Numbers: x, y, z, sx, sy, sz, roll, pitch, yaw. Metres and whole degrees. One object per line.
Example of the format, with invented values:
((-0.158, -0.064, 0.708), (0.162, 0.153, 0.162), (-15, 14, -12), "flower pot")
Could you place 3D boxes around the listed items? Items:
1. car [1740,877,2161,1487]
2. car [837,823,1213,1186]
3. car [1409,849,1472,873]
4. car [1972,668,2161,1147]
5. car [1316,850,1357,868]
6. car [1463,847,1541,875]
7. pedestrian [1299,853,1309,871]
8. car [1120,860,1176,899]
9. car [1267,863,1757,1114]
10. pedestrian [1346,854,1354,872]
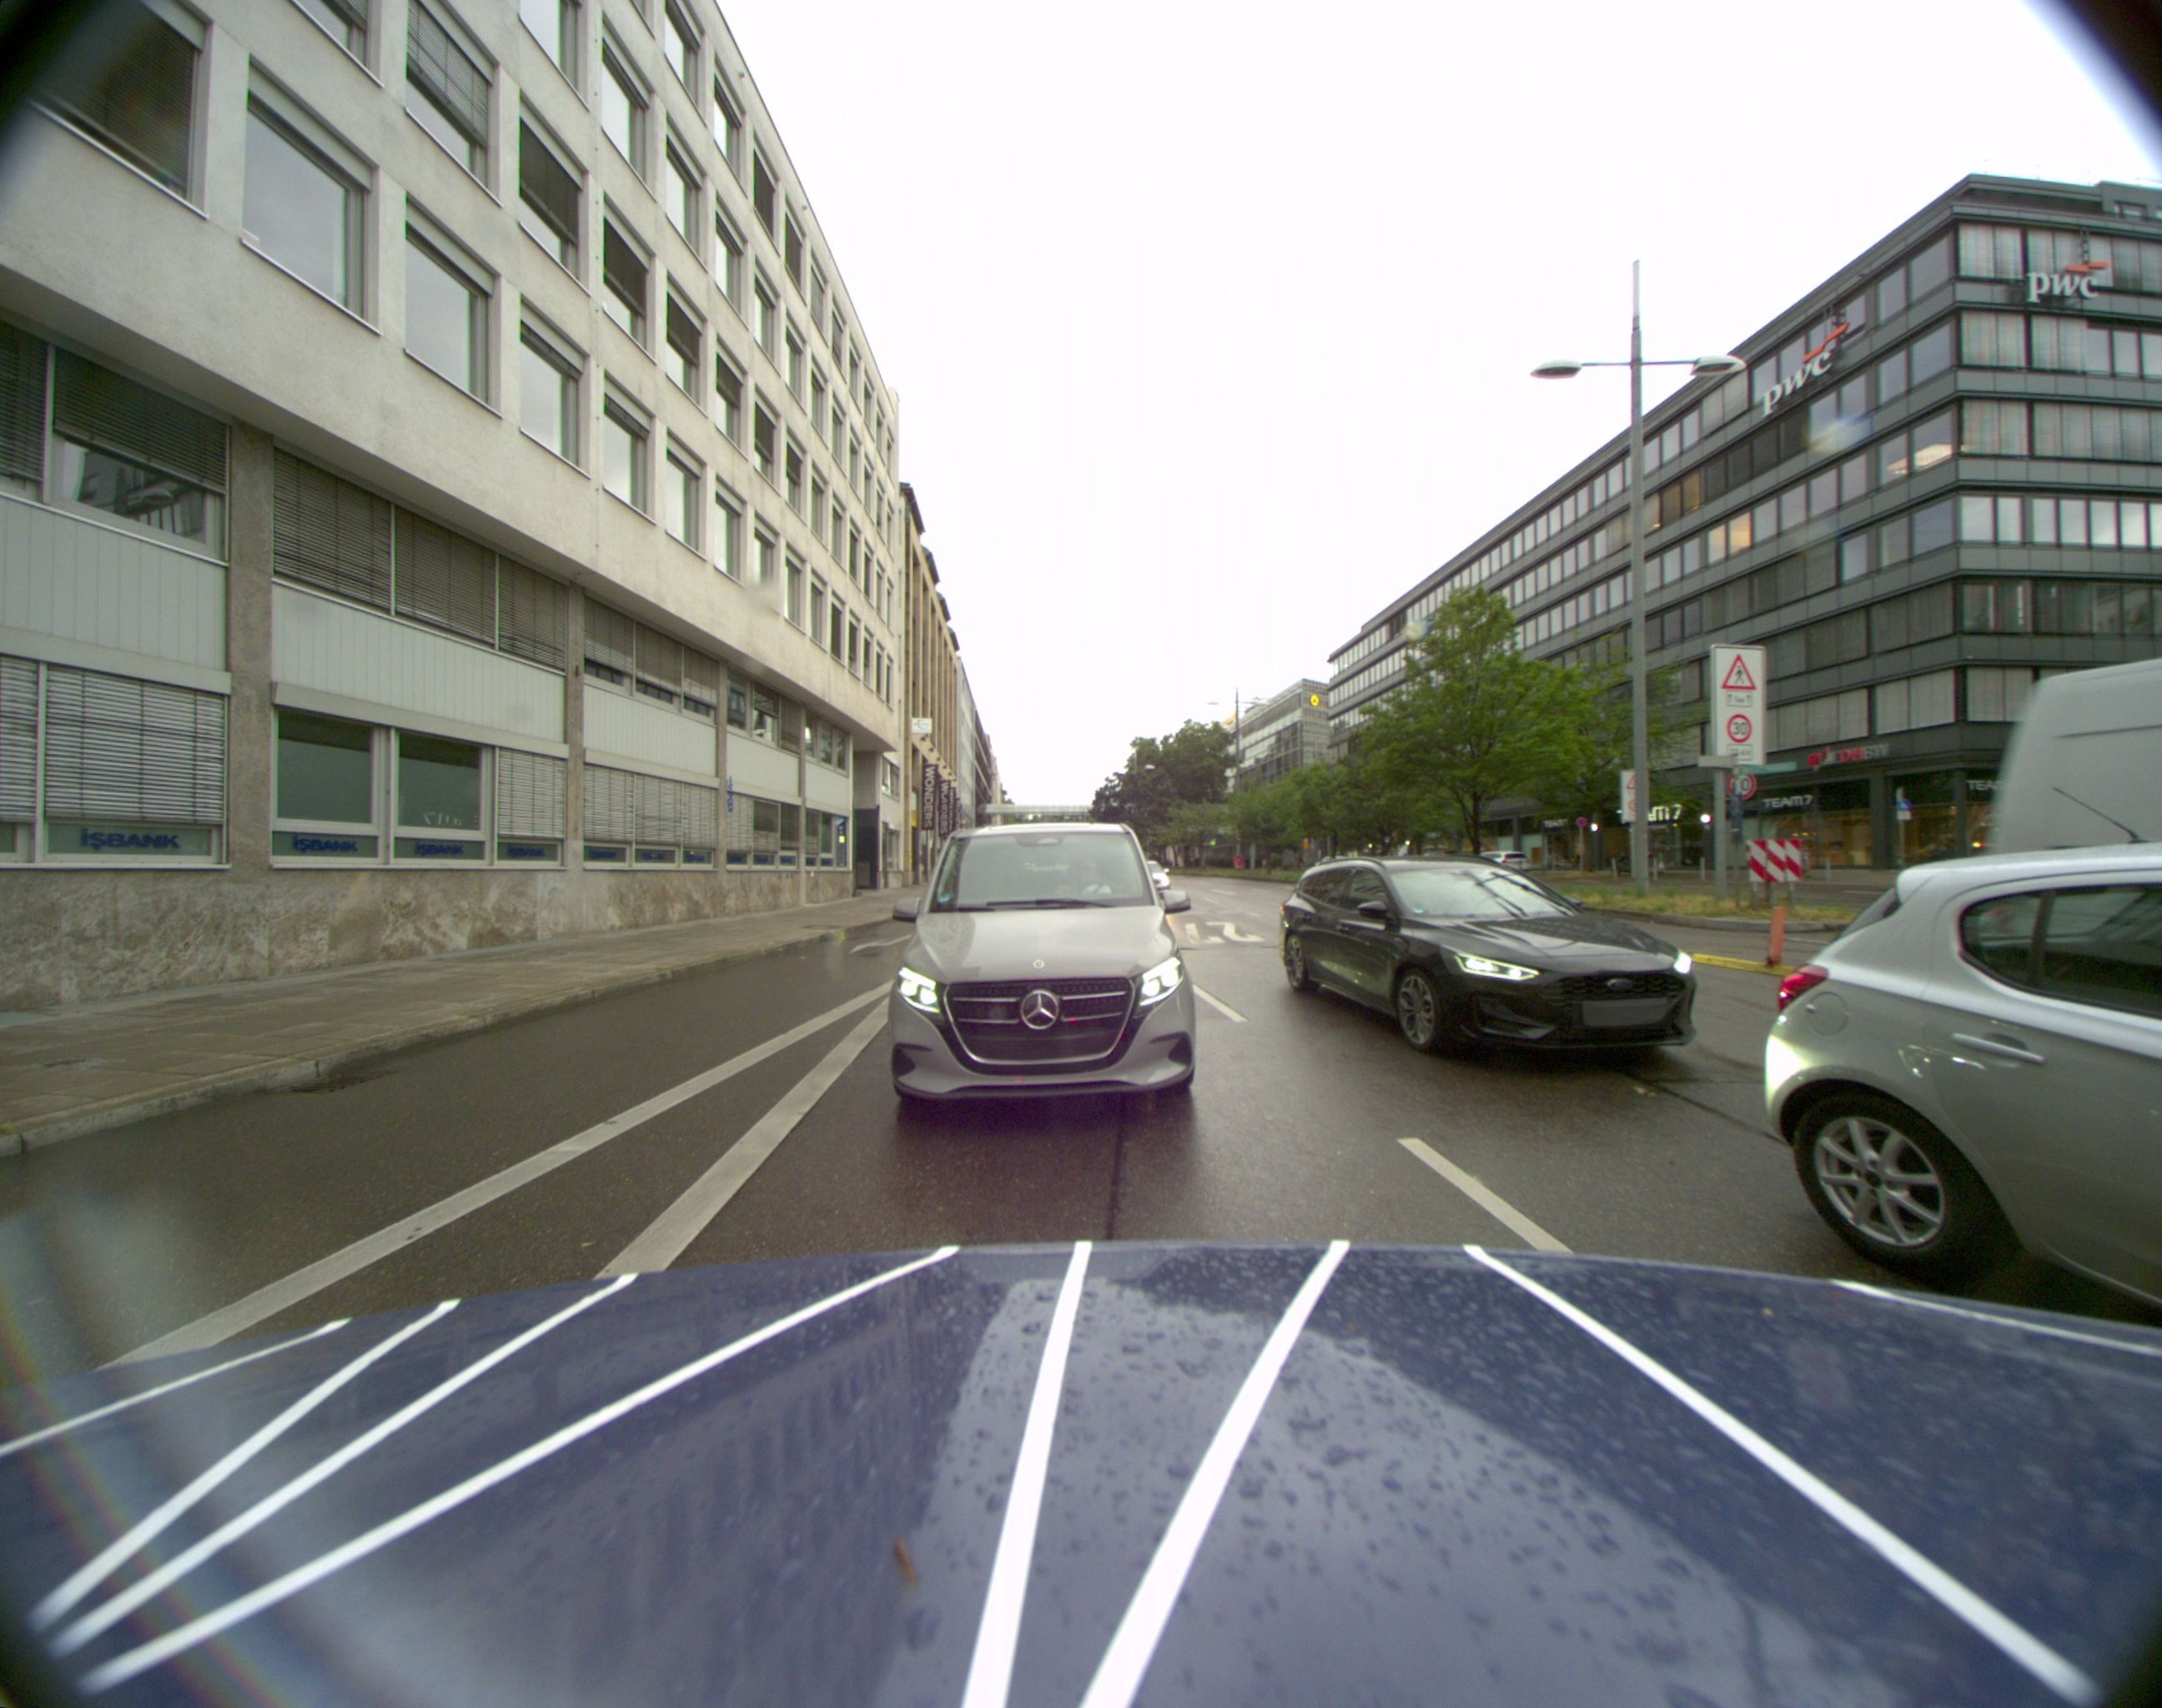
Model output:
((3.495, 0.829, 1.110), (1.652, 1.427, 3.875), (-2, 0, 0), "car")
((-0.309, 0.799, 6.518), (1.916, 1.844, 5.026), (-2, 0, 0), "car")
((23.639, 0.448, 50.122), (1.999, 1.498, 4.106), (-2, 0, -4), "car")
((6.541, 0.235, 1.916), (1.952, 2.426, 5.478), (-2, 0, -3), "car")
((22.386, 0.459, 66.667), (1.999, 1.498, 3.999), (-2, 0, -4), "car")
((24.097, 0.389, 43.664), (1.999, 1.498, 3.999), (-2, 0, -4), "car")
((25.053, 0.898, 85.424), (0.928, 2.002, 0.539), (-2, 0, -1), "pedestrian")
((2.620, 0.966, 30.436), (1.776, 1.372, 4.094), (-2, 0, -1), "car")
((3.162, 0.838, 6.698), (1.776, 1.427, 4.093), (-2, 0, -4), "car")
((29.539, 0.986, 83.505), (0.689, 2.002, 0.501), (-2, 0, -3), "pedestrian")
